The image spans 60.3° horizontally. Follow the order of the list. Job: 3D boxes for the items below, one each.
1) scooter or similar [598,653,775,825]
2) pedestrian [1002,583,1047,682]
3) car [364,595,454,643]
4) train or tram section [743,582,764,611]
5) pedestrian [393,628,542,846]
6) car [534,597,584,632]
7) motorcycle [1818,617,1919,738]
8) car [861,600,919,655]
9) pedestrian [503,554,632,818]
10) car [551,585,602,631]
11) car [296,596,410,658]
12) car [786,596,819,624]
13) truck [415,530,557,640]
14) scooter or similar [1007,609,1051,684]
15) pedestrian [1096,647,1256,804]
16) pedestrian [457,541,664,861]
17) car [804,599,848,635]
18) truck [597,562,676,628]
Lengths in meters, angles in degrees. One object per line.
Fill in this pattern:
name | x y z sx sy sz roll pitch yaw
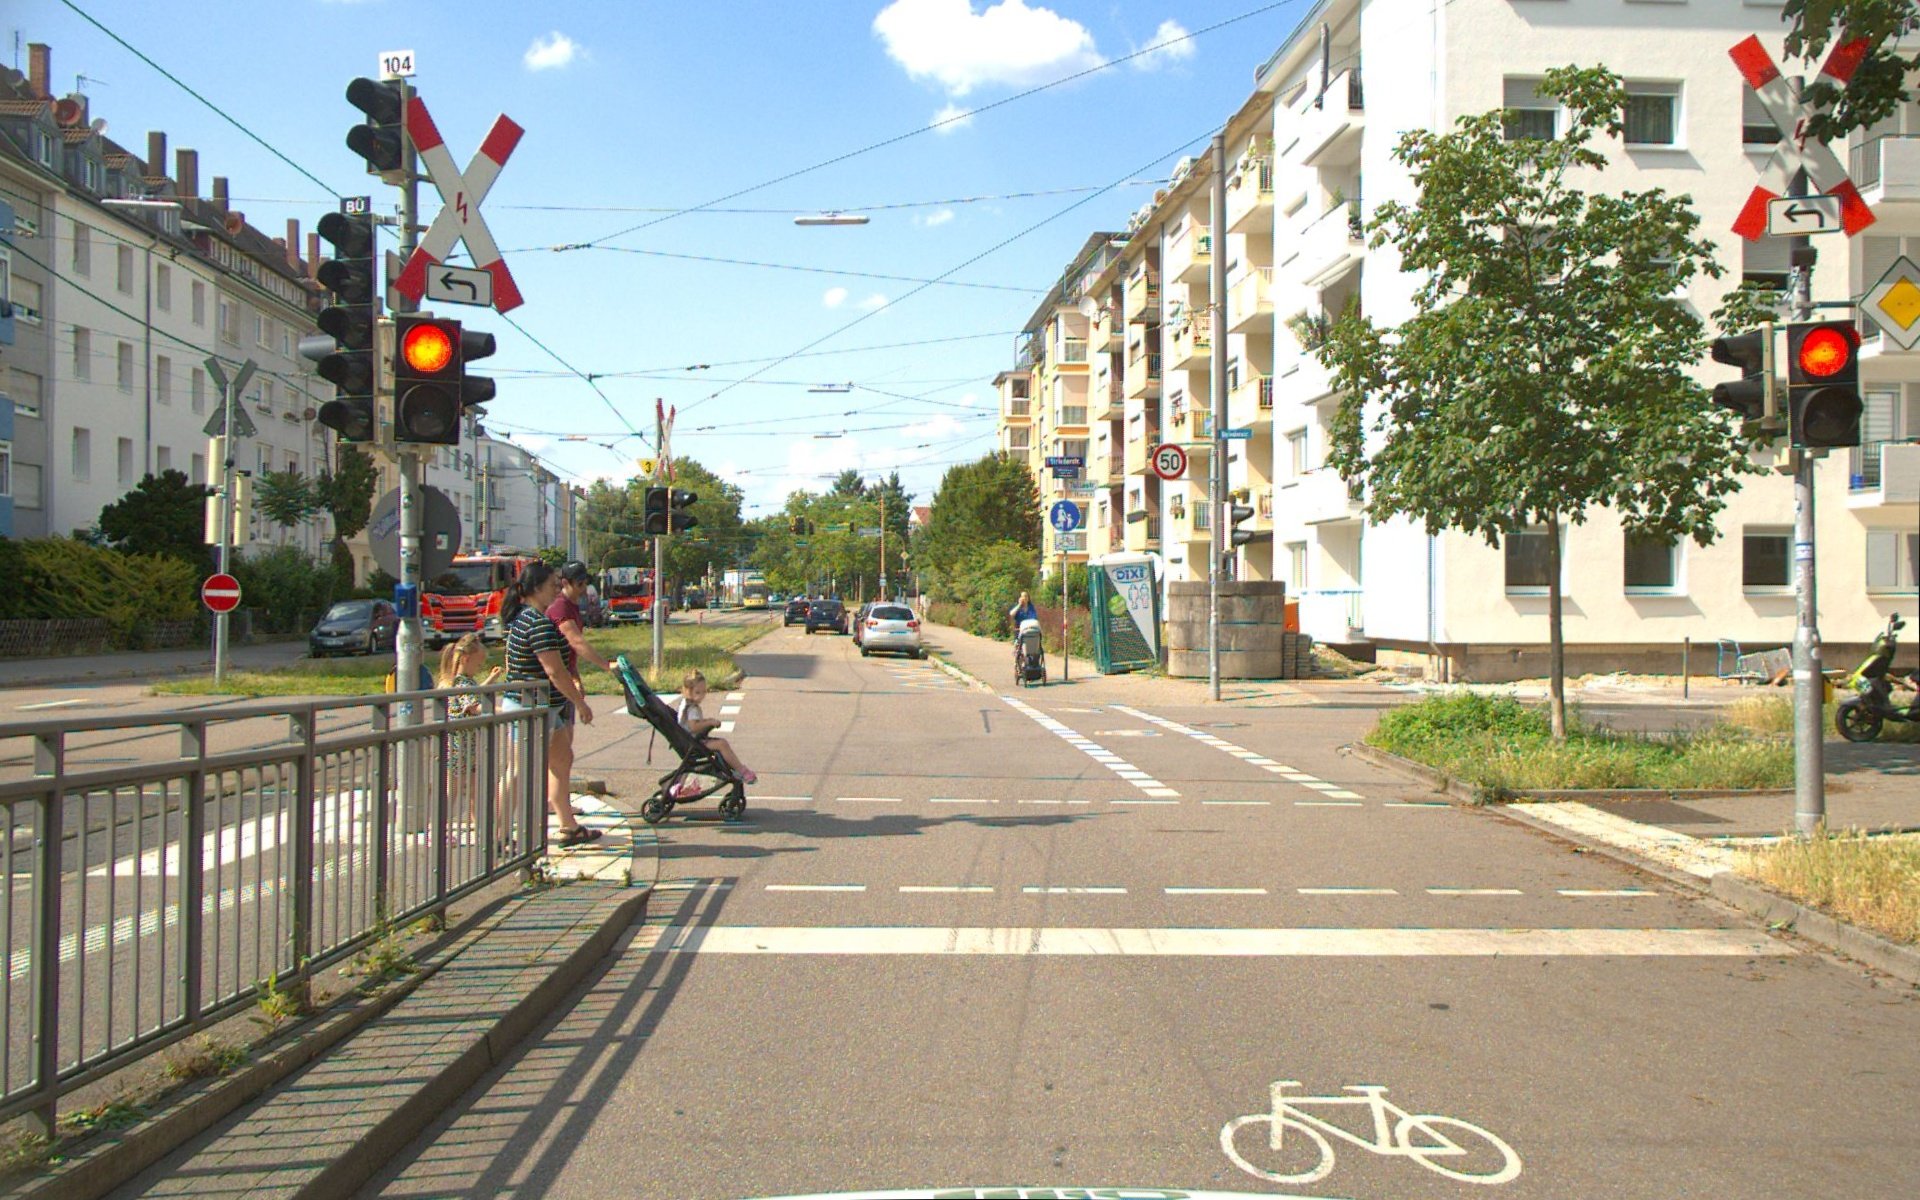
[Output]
scooter or similar | -1.805 0.909 11.024 1.078 1.074 0.650 1 -1 -4
pedestrian | 1.214 0.605 31.420 0.687 1.820 1.029 -3 0 -2
car | -18.002 0.621 54.186 1.733 1.467 3.998 1 0 -3
train or tram section | -22.755 -0.359 182.541 2.215 3.122 8.122 0 0 -6
pedestrian | -2.902 0.773 9.729 0.631 1.201 0.789 0 -1 -35
car | -20.563 0.738 84.885 1.873 1.741 3.996 2 0 -5
motorcycle | 10.219 0.815 17.613 0.565 1.236 1.826 -5 1 -32
car | -2.055 0.781 48.224 1.590 1.490 3.508 1 0 -3
pedestrian | -2.594 0.559 10.992 0.692 1.677 0.636 2 -1 -5
car | -21.091 0.450 91.149 1.929 2.412 5.197 1 0 -4
car | -17.605 0.760 48.178 1.954 1.674 3.998 1 0 -3
car | -8.862 0.568 93.074 1.709 1.533 3.997 2 0 -4
truck | -15.273 -0.431 53.917 2.544 3.241 8.377 1 0 -3
scooter or similar | 1.275 0.849 30.525 0.649 1.326 0.868 -3 0 -4
pedestrian | 3.169 1.808 25.024 1.952 2.049 4.001 1 0 1
pedestrian | -2.260 0.539 9.370 0.784 1.697 0.844 -1 -1 40
car | -5.910 0.754 73.397 1.709 1.533 3.998 1 0 -2
truck | -18.508 -0.221 95.225 2.612 3.531 10.165 1 0 -1
